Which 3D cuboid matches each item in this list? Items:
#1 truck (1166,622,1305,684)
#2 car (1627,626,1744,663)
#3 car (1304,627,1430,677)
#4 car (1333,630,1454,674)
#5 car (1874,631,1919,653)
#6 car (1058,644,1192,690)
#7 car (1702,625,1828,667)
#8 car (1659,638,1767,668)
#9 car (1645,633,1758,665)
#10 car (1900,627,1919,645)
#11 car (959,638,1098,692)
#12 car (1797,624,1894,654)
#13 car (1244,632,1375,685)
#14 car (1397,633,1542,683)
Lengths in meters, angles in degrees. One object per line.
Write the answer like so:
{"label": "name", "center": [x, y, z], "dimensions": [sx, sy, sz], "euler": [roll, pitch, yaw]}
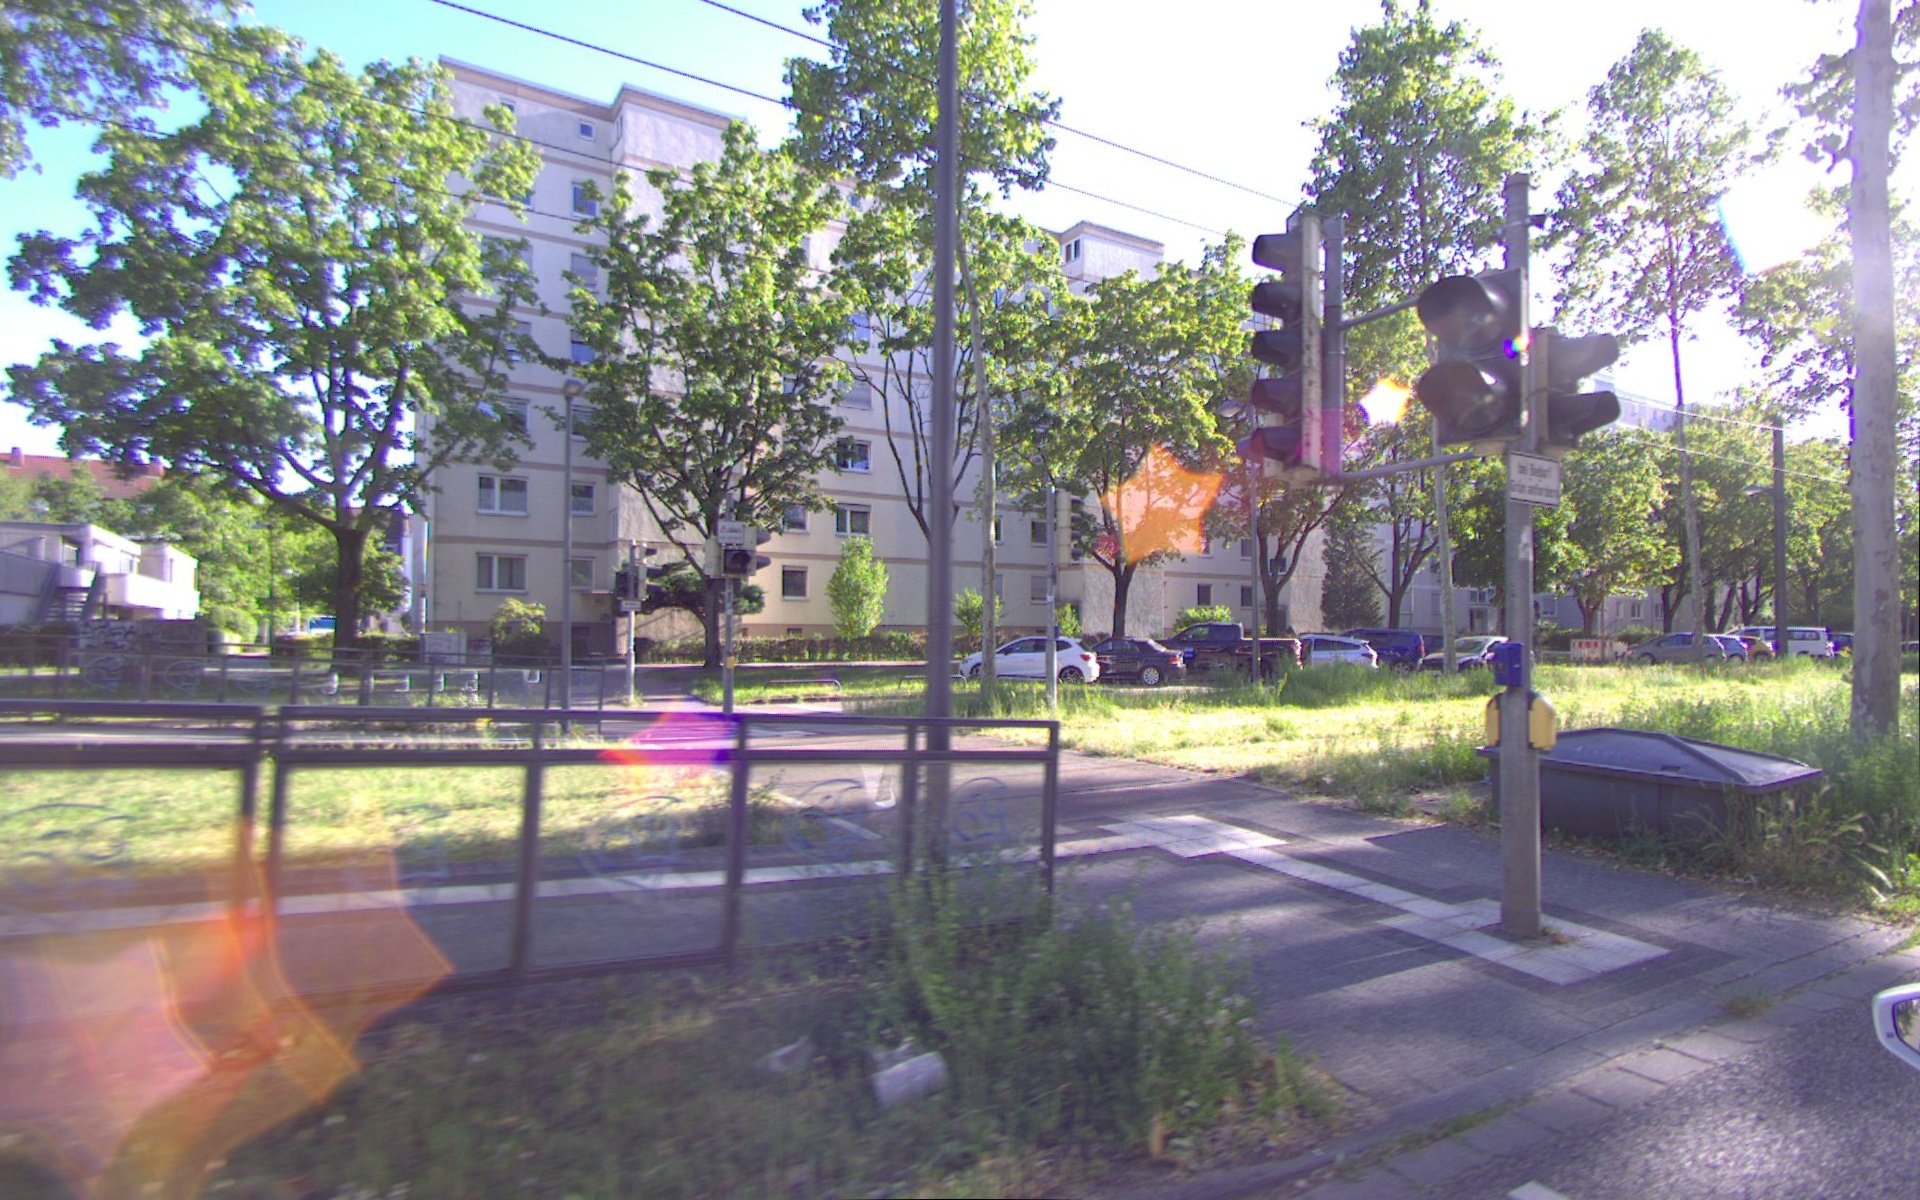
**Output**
{"label": "truck", "center": [8.723, 1.682, 31.804], "dimensions": [4.008, 1.797, 1.652], "euler": [-1, -7, 25]}
{"label": "car", "center": [33.148, 2.027, 45.991], "dimensions": [4.004, 1.667, 1.652], "euler": [-1, -3, 19]}
{"label": "car", "center": [14.558, 1.864, 36.121], "dimensions": [4.003, 1.668, 1.652], "euler": [-1, 1, 14]}
{"label": "car", "center": [16.432, 1.957, 38.254], "dimensions": [4.002, 1.496, 1.652], "euler": [-1, 2, 13]}
{"label": "car", "center": [62.705, 2.731, 65.608], "dimensions": [4.049, 1.355, 1.796], "euler": [0, 0, 18]}
{"label": "car", "center": [5.011, 1.993, 30.344], "dimensions": [3.749, 1.263, 1.841], "euler": [-1, -1, 18]}
{"label": "car", "center": [41.533, 2.349, 51.961], "dimensions": [4.706, 2.033, 1.892], "euler": [-1, 0, 22]}
{"label": "car", "center": [37.637, 2.675, 50.319], "dimensions": [4.004, 1.451, 1.580], "euler": [-1, -3, 19]}
{"label": "car", "center": [35.453, 2.317, 48.107], "dimensions": [4.004, 1.502, 1.652], "euler": [-1, -2, 19]}
{"label": "car", "center": [80.098, 2.946, 82.490], "dimensions": [3.843, 1.507, 1.796], "euler": [0, -2, 18]}
{"label": "car", "center": [1.992, 1.825, 28.712], "dimensions": [3.748, 1.454, 1.842], "euler": [-1, -2, 11]}
{"label": "car", "center": [49.801, 2.166, 56.554], "dimensions": [4.026, 1.628, 1.984], "euler": [-1, -1, 42]}
{"label": "car", "center": [11.747, 1.940, 34.013], "dimensions": [4.002, 1.668, 1.652], "euler": [0, -1, 12]}
{"label": "car", "center": [15.672, 1.736, 30.875], "dimensions": [4.116, 1.407, 1.986], "euler": [1, -2, -28]}
